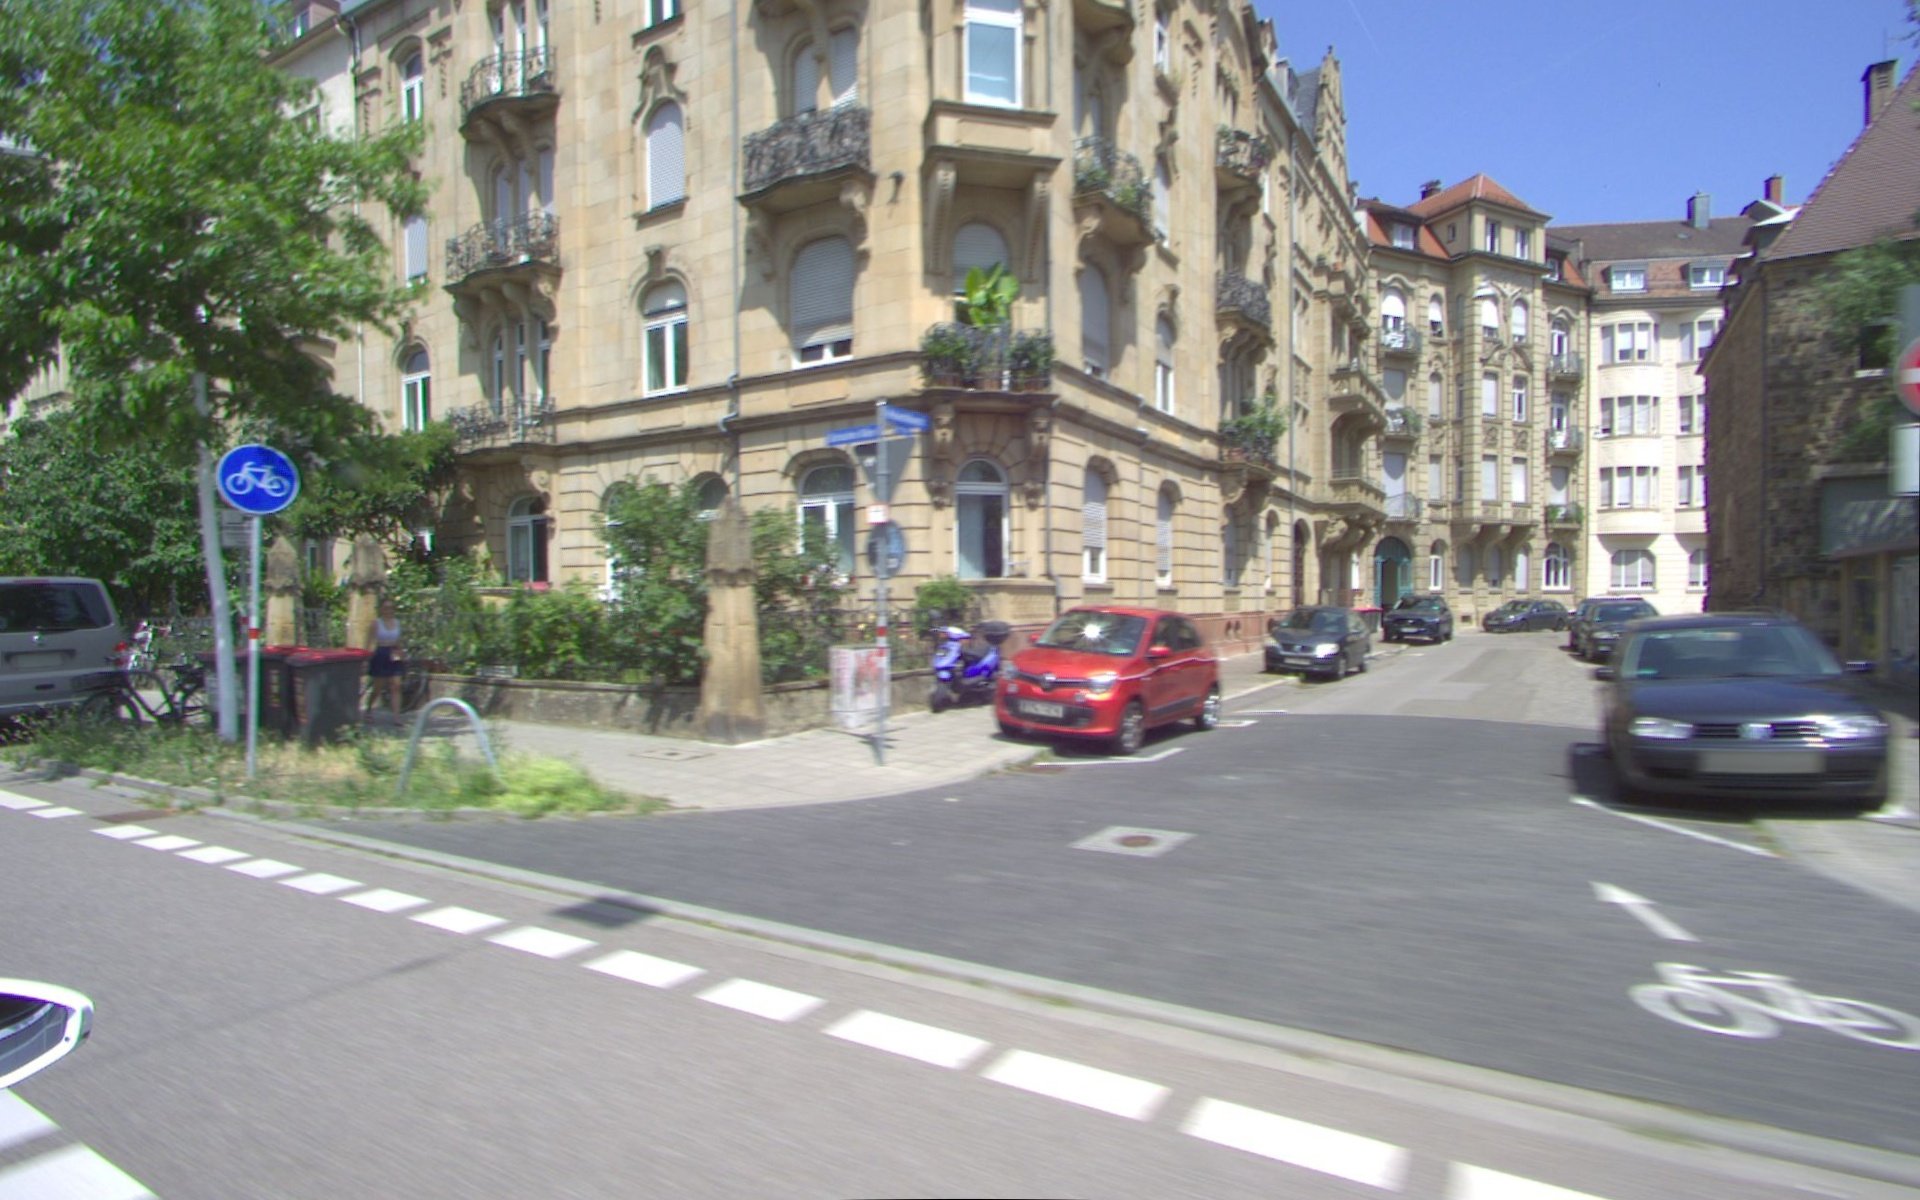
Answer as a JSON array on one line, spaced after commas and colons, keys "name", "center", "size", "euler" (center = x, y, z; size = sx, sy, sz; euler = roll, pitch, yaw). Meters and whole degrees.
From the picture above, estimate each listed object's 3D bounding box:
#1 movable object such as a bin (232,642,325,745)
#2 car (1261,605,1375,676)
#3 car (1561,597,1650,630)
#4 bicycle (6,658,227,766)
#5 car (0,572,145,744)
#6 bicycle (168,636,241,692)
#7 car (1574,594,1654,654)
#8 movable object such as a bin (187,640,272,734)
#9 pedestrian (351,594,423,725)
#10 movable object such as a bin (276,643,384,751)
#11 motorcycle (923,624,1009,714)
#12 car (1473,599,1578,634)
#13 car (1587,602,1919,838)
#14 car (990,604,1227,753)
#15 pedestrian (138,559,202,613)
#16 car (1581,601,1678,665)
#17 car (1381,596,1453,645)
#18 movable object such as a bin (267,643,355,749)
[{"name": "movable object such as a bin", "center": [-7.544, 1.015, 11.096], "size": [0.490, 1.076, 0.743], "euler": [0, 0, 38]}, {"name": "car", "center": [7.948, 0.817, 22.027], "size": [1.522, 1.405, 3.978], "euler": [0, 0, 32]}, {"name": "car", "center": [29.976, 0.605, 46.500], "size": [3.936, 1.499, 1.614], "euler": [0, 0, -24]}, {"name": "bicycle", "center": [-9.259, 1.192, 11.094], "size": [0.462, 1.004, 1.882], "euler": [0, 0, 22]}, {"name": "car", "center": [-12.833, 0.668, 13.132], "size": [4.767, 1.974, 1.874], "euler": [0, 1, 32]}, {"name": "bicycle", "center": [-12.816, 1.069, 16.980], "size": [1.611, 0.892, 0.439], "euler": [0, 0, 32]}, {"name": "car", "center": [19.084, 0.691, 29.359], "size": [1.757, 1.576, 3.635], "euler": [-4, -2, 31]}, {"name": "movable object such as a bin", "center": [-8.402, 0.986, 11.527], "size": [0.556, 1.024, 0.596], "euler": [0, 0, 22]}, {"name": "pedestrian", "center": [-7.321, 0.737, 12.793], "size": [0.718, 1.619, 0.550], "euler": [0, 0, 34]}, {"name": "movable object such as a bin", "center": [-6.523, 0.977, 10.373], "size": [0.642, 1.027, 0.784], "euler": [0, 0, 38]}, {"name": "motorcycle", "center": [0.108, 0.942, 14.152], "size": [0.462, 1.179, 1.500], "euler": [0, 0, 34]}, {"name": "car", "center": [25.208, 0.702, 44.619], "size": [4.259, 1.491, 1.992], "euler": [0, 0, -25]}, {"name": "car", "center": [6.559, 0.794, 8.731], "size": [1.648, 1.511, 4.175], "euler": [0, 0, 29]}, {"name": "car", "center": [1.914, 0.815, 12.090], "size": [1.533, 1.511, 3.443], "euler": [0, 0, 34]}, {"name": "pedestrian", "center": [-16.438, -0.285, 20.842], "size": [0.751, 1.084, 0.863], "euler": [0, -1, 36]}, {"name": "car", "center": [16.569, 0.782, 24.926], "size": [1.757, 1.390, 3.980], "euler": [-4, -2, 31]}, {"name": "car", "center": [16.177, 0.694, 35.351], "size": [1.970, 1.627, 3.923], "euler": [0, 0, 30]}, {"name": "movable object such as a bin", "center": [-7.020, 1.020, 10.836], "size": [0.490, 1.076, 0.666], "euler": [0, 0, 38]}]
